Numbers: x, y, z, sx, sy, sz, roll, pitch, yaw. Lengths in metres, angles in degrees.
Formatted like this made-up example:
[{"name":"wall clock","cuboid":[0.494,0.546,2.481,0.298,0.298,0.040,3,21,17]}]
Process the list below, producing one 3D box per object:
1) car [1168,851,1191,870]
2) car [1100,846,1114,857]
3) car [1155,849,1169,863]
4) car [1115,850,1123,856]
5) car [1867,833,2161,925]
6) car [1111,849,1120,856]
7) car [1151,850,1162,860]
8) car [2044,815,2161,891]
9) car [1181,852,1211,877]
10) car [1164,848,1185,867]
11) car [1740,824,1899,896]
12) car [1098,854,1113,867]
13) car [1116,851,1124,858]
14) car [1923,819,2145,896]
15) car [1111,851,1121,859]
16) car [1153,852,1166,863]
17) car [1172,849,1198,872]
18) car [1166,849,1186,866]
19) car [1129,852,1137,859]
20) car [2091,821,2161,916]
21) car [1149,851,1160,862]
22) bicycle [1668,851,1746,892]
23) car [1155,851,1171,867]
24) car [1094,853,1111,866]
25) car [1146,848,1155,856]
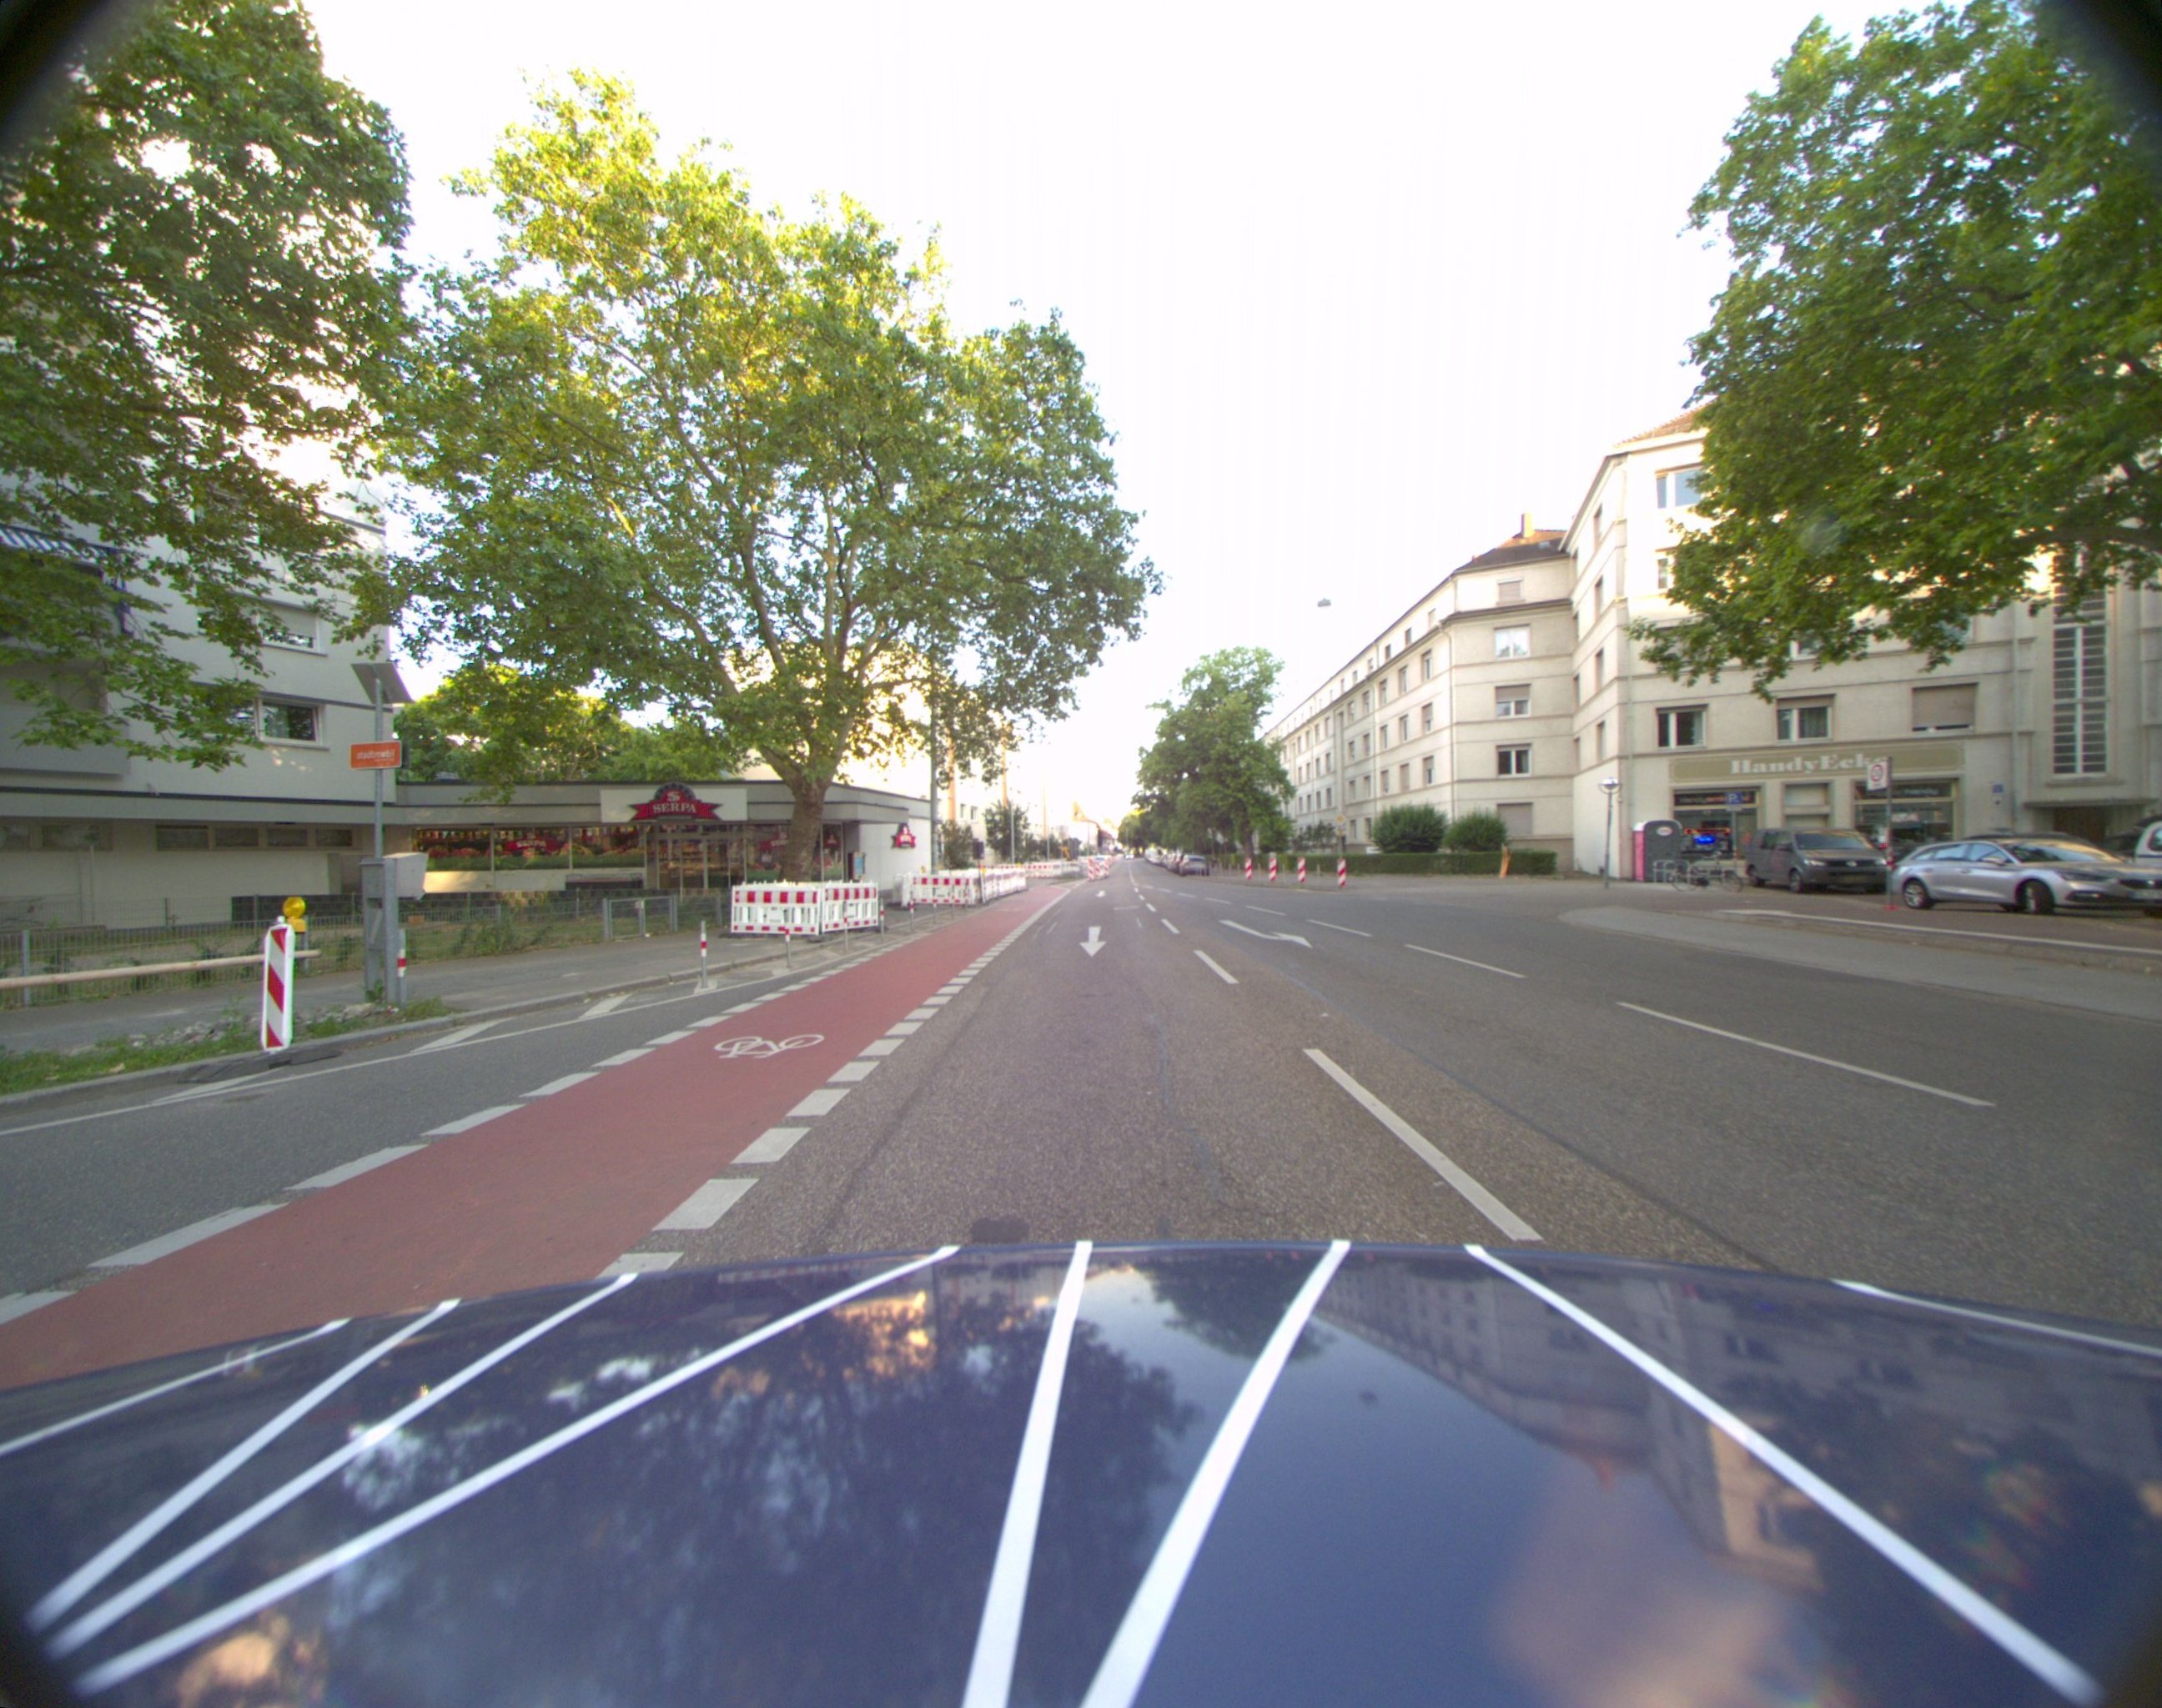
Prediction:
[{"name":"car","cuboid":[9.012,0.556,69.460,1.892,1.591,4.260,-2,1,6]},{"name":"car","cuboid":[4.192,-0.351,121.832,1.892,1.651,4.260,-2,1,6]},{"name":"car","cuboid":[11.555,0.318,108.198,1.892,1.855,4.260,-2,1,6]},{"name":"car","cuboid":[9.782,-0.271,196.465,1.892,1.591,4.260,-2,1,6]},{"name":"car","cuboid":[18.132,0.438,14.668,1.996,1.494,4.647,0,-1,15]},{"name":"car","cuboid":[8.504,-0.372,184.832,1.892,1.591,4.260,-2,1,6]},{"name":"car","cuboid":[13.143,0.156,132.792,1.892,1.591,4.260,-2,1,6]},{"name":"car","cuboid":[29.617,-0.084,20.823,1.995,1.945,4.646,0,3,23]},{"name":"car","cuboid":[8.121,0.712,53.891,1.892,1.591,4.001,-2,1,6]},{"name":"car","cuboid":[9.284,0.344,75.406,1.892,1.764,4.260,-2,1,6]},{"name":"car","cuboid":[22.613,0.092,23.550,1.995,1.945,4.646,0,3,23]},{"name":"car","cuboid":[3.702,0.926,113.319,1.892,1.726,4.260,-2,1,6]},{"name":"car","cuboid":[10.612,0.118,205.404,1.892,1.591,4.260,-2,1,6]},{"name":"car","cuboid":[27.119,-0.009,21.911,1.995,1.945,4.646,0,3,23]},{"name":"car","cuboid":[7.173,0.204,156.219,1.892,1.591,4.260,-2,1,6]},{"name":"car","cuboid":[12.126,0.484,117.870,1.892,1.591,4.260,-2,1,6]},{"name":"car","cuboid":[8.493,0.523,62.187,1.892,1.681,4.260,-2,1,6]},{"name":"car","cuboid":[10.114,0.343,80.934,1.892,1.591,4.260,-2,1,6]},{"name":"car","cuboid":[13.894,0.374,203.567,1.998,1.838,4.000,-2,1,3]},{"name":"car","cuboid":[20.718,0.262,12.987,1.995,1.771,4.649,0,-1,21]},{"name":"car","cuboid":[13.848,0.392,143.007,1.892,1.868,4.946,-2,1,6]},{"name":"bicycle","cuboid":[19.402,0.539,23.608,1.802,1.199,0.648,-1,2,33]},{"name":"car","cuboid":[10.704,0.645,99.234,1.892,1.815,4.260,-2,1,6]},{"name":"car","cuboid":[2.891,0.750,101.032,1.892,1.591,4.260,-2,1,6]},{"name":"car","cuboid":[15.209,-0.480,166.076,1.892,1.591,4.260,-2,1,6]}]
